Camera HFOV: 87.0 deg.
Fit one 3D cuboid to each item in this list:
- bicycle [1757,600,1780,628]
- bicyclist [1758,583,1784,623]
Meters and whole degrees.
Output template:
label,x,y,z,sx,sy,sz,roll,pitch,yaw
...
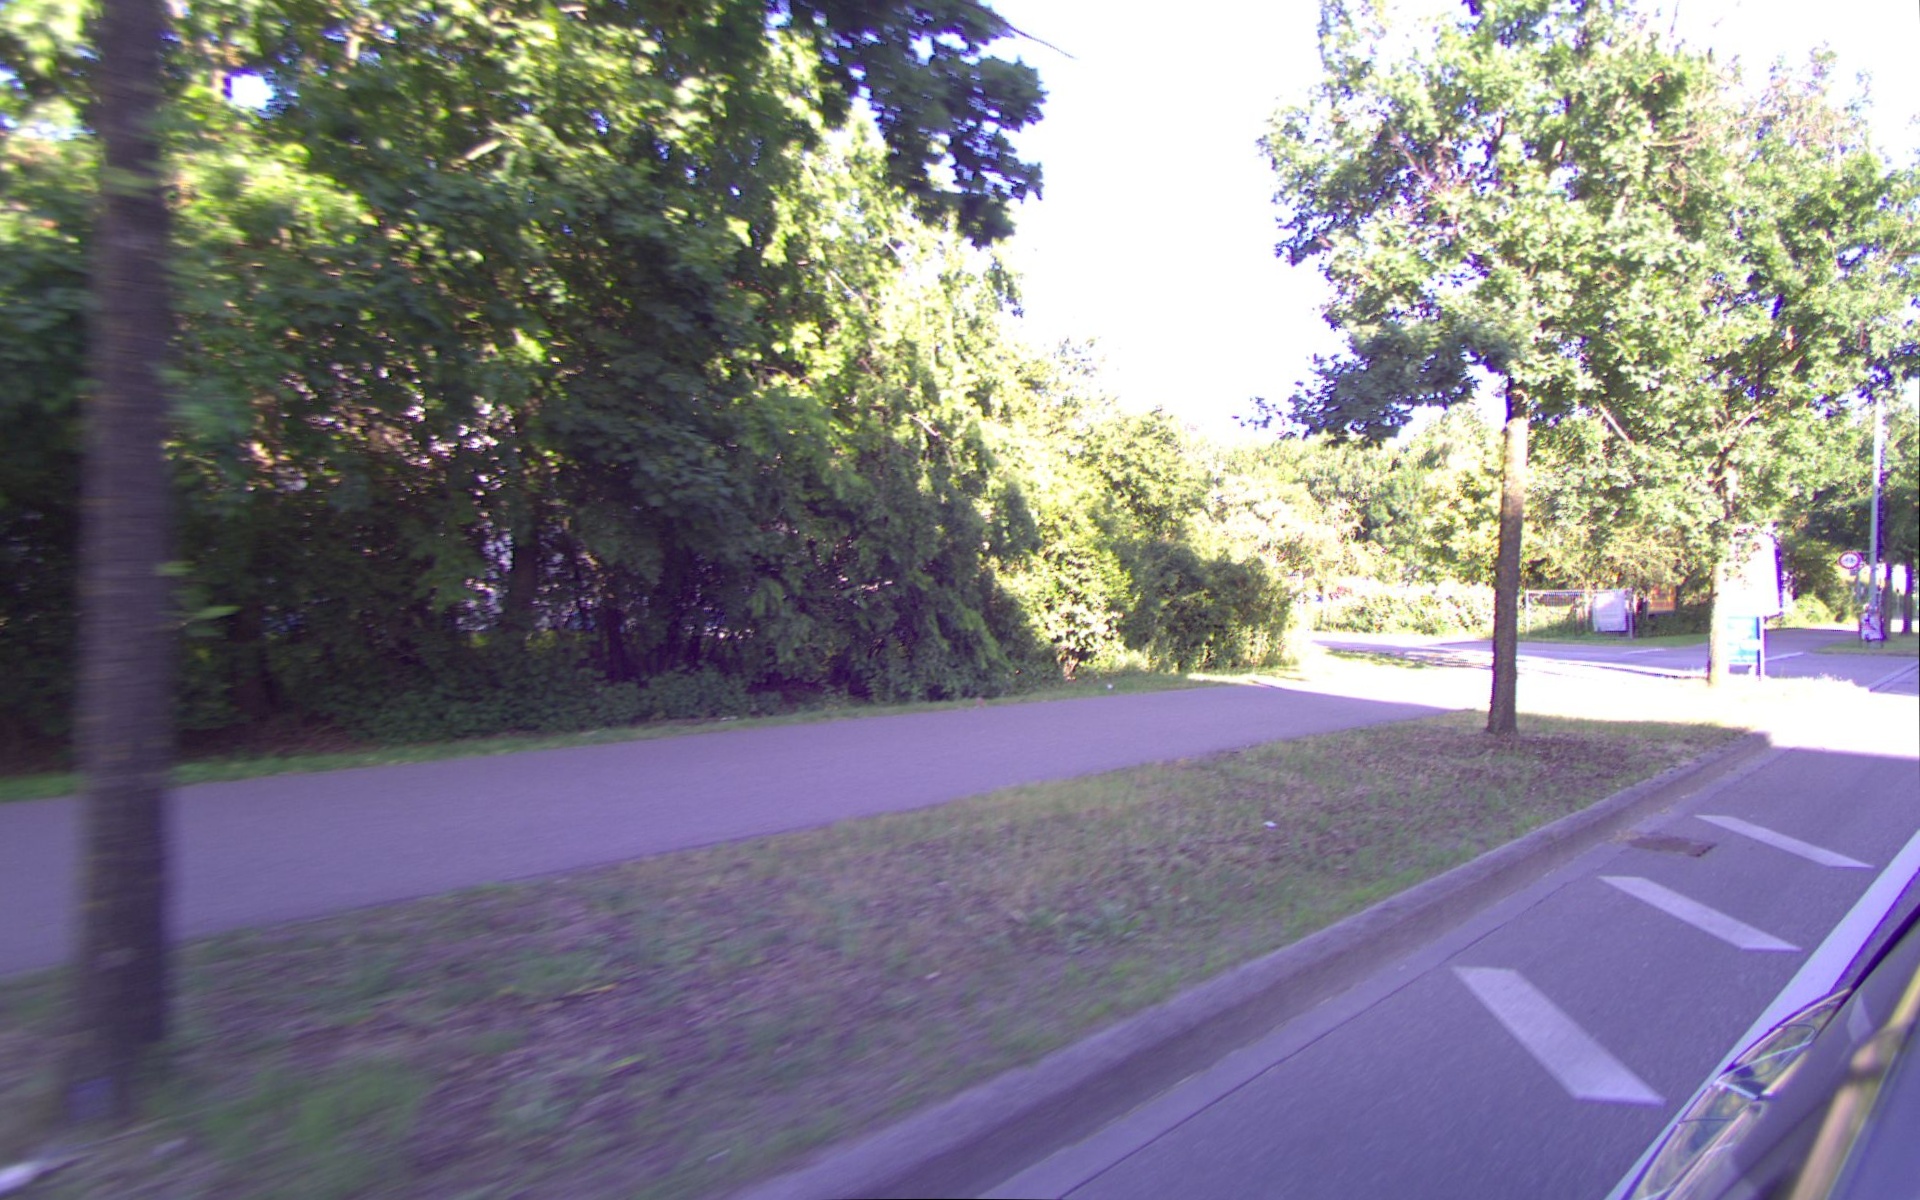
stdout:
label,x,y,z,sx,sy,sz,roll,pitch,yaw
bicycle,32.616,0.552,40.818,0.516,1.086,1.905,1,1,44
bicyclist,32.616,0.110,40.697,0.685,1.541,1.019,1,1,44
